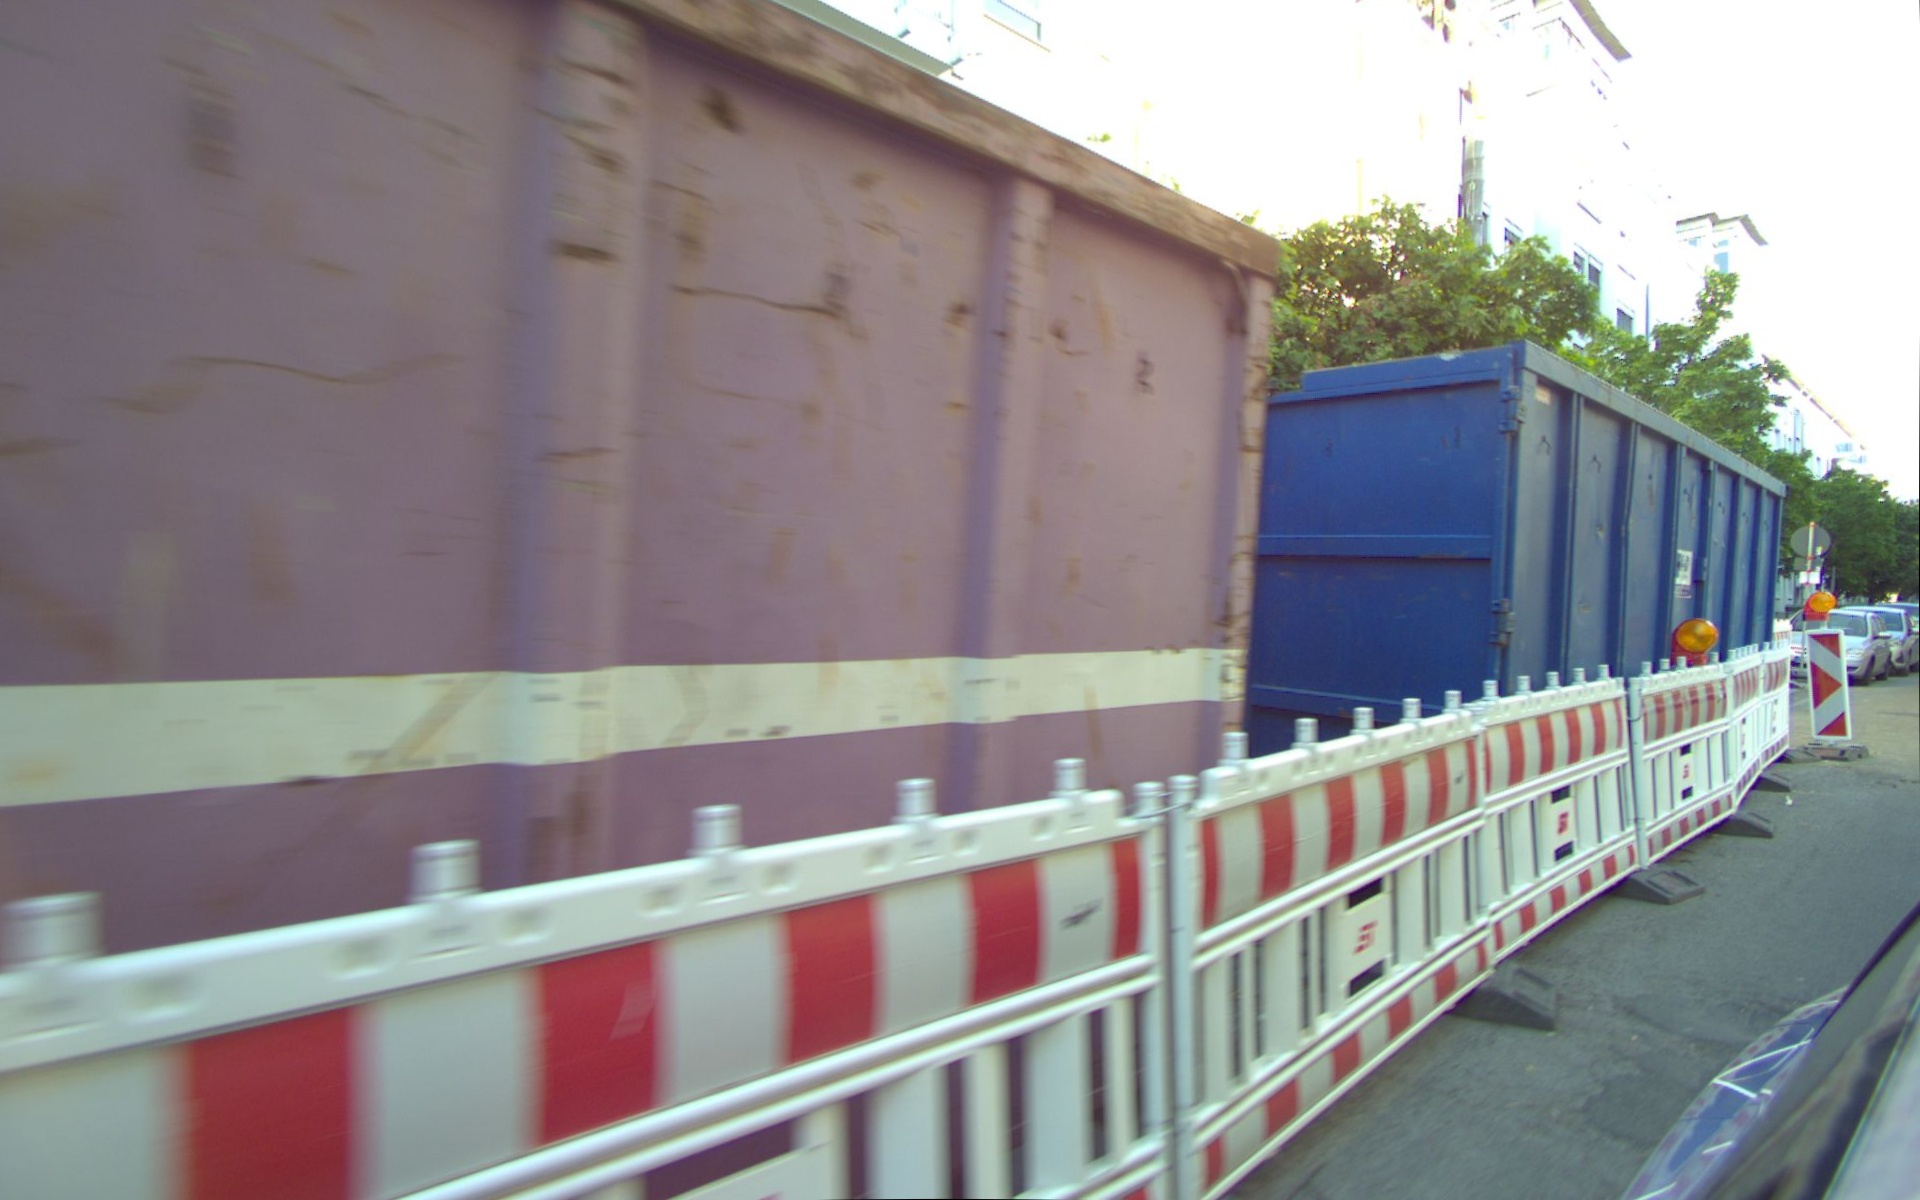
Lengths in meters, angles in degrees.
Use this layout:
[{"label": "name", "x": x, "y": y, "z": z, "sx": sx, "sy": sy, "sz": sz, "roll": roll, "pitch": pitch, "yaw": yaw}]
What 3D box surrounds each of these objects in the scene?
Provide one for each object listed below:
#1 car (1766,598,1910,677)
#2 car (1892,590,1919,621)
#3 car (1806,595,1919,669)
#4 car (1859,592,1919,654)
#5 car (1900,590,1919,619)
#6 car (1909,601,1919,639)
[{"label": "car", "x": 18.072, "y": 0.699, "z": 20.770, "sx": 3.994, "sy": 1.465, "sz": 1.637, "roll": 0, "pitch": -1, "yaw": -40}, {"label": "car", "x": 65.239, "y": 0.386, "z": 69.190, "sx": 3.934, "sy": 2.039, "sz": 1.995, "roll": 0, "pitch": -1, "yaw": -44}, {"label": "car", "x": 21.582, "y": 0.696, "z": 23.814, "sx": 3.929, "sy": 1.605, "sz": 1.911, "roll": 0, "pitch": -1, "yaw": -40}, {"label": "car", "x": 28.060, "y": 0.644, "z": 29.775, "sx": 4.314, "sy": 1.710, "sz": 1.861, "roll": 0, "pitch": -1, "yaw": -41}, {"label": "car", "x": 68.521, "y": 0.310, "z": 72.142, "sx": 3.934, "sy": 2.039, "sz": 1.995, "roll": 0, "pitch": -1, "yaw": -44}, {"label": "car", "x": 39.645, "y": 0.785, "z": 40.780, "sx": 3.933, "sy": 1.508, "sz": 1.852, "roll": 0, "pitch": -1, "yaw": -44}]
